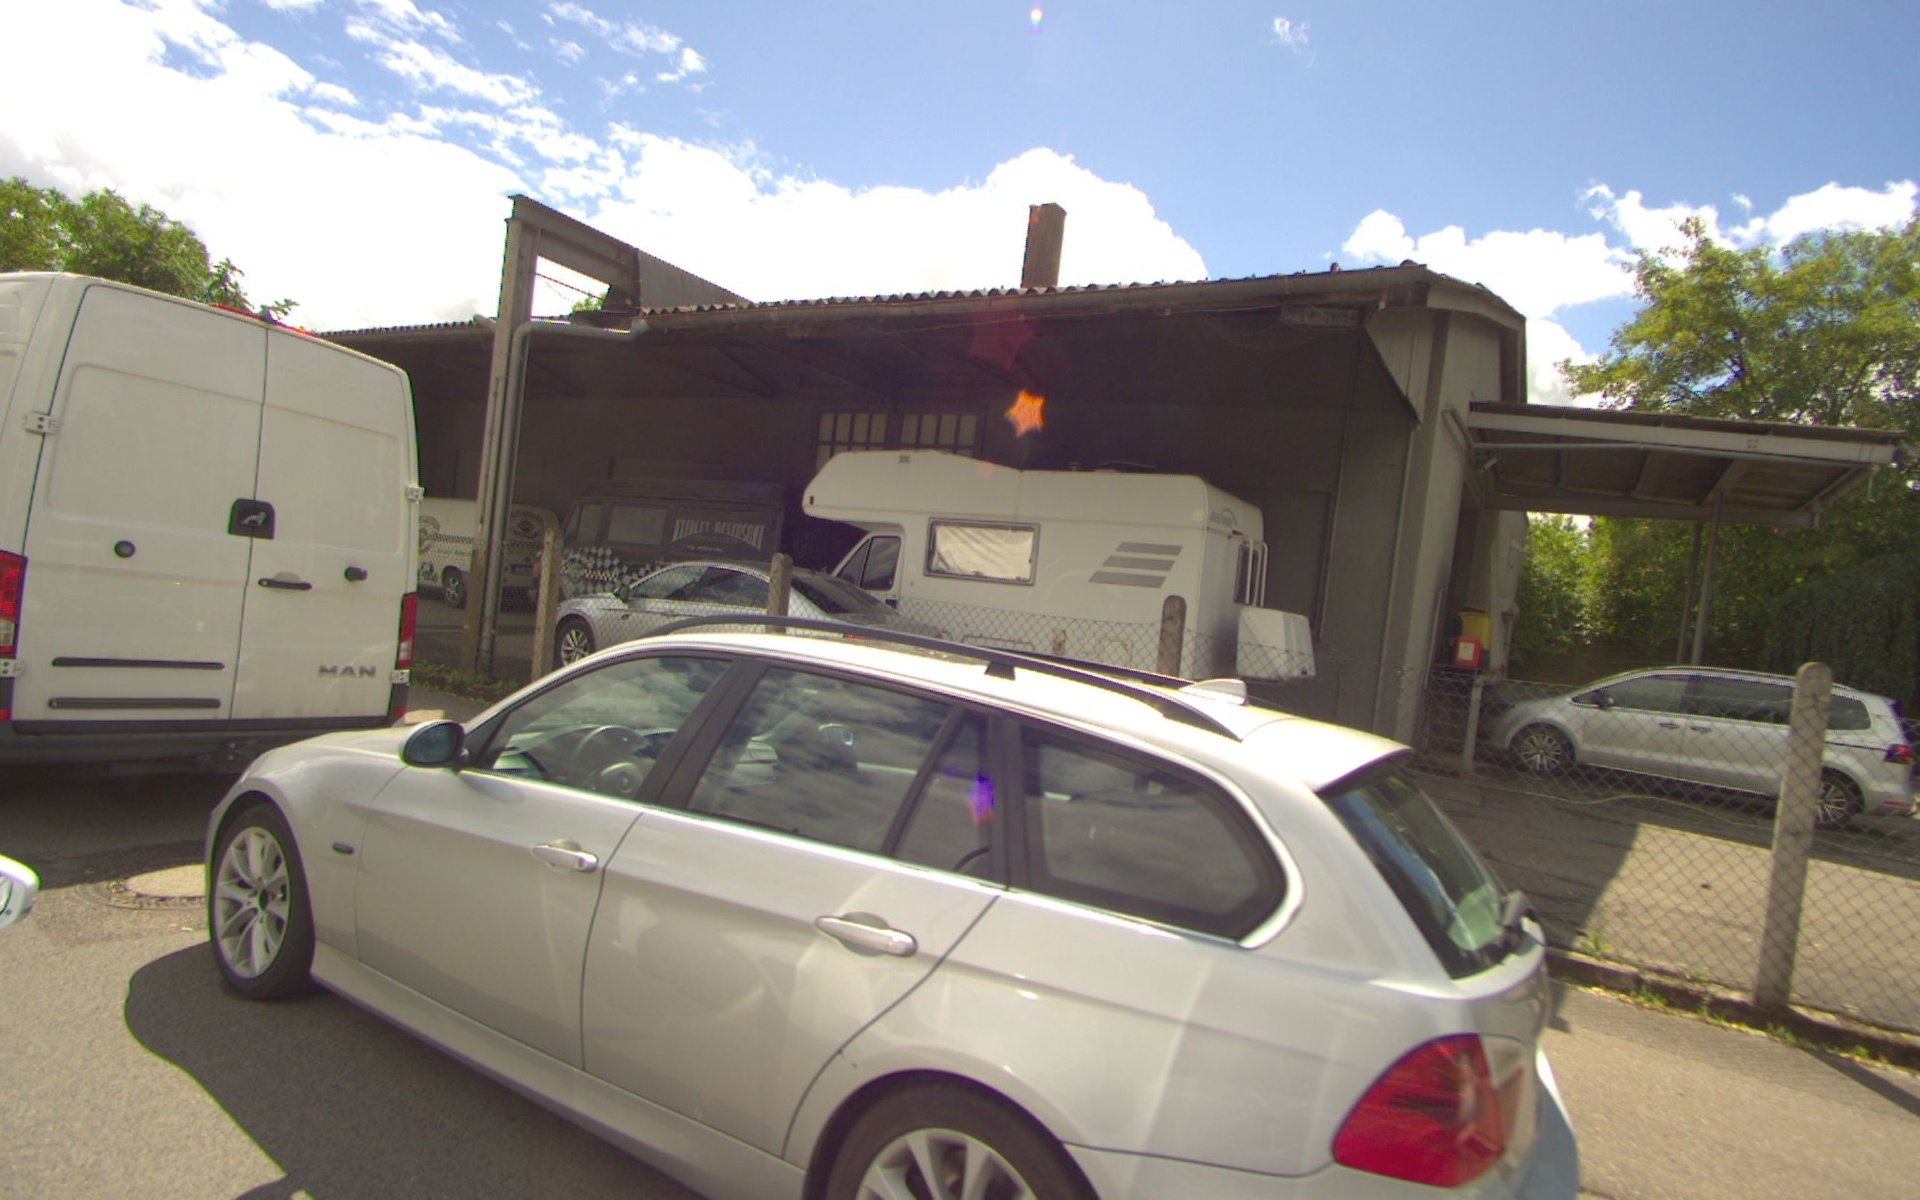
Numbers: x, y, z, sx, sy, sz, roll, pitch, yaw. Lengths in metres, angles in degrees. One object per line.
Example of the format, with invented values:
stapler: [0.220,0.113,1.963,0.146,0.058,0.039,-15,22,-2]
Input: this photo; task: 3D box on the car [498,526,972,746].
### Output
car: [-2.470,0.273,10.476,4.844,1.508,1.766,7,1,32]

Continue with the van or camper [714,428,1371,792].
van or camper: [0.798,-0.111,11.741,6.797,3.099,2.885,7,1,30]

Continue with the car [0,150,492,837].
car: [-6.162,-0.669,6.488,6.545,2.724,2.217,7,1,31]

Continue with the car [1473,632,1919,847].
car: [9.606,1.680,13.242,4.733,1.774,1.819,9,2,33]

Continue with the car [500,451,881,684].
car: [-4.112,-0.543,14.975,5.404,2.715,2.020,8,1,30]

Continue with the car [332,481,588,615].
car: [-9.540,-1.009,19.069,4.772,1.934,1.995,7,1,32]
